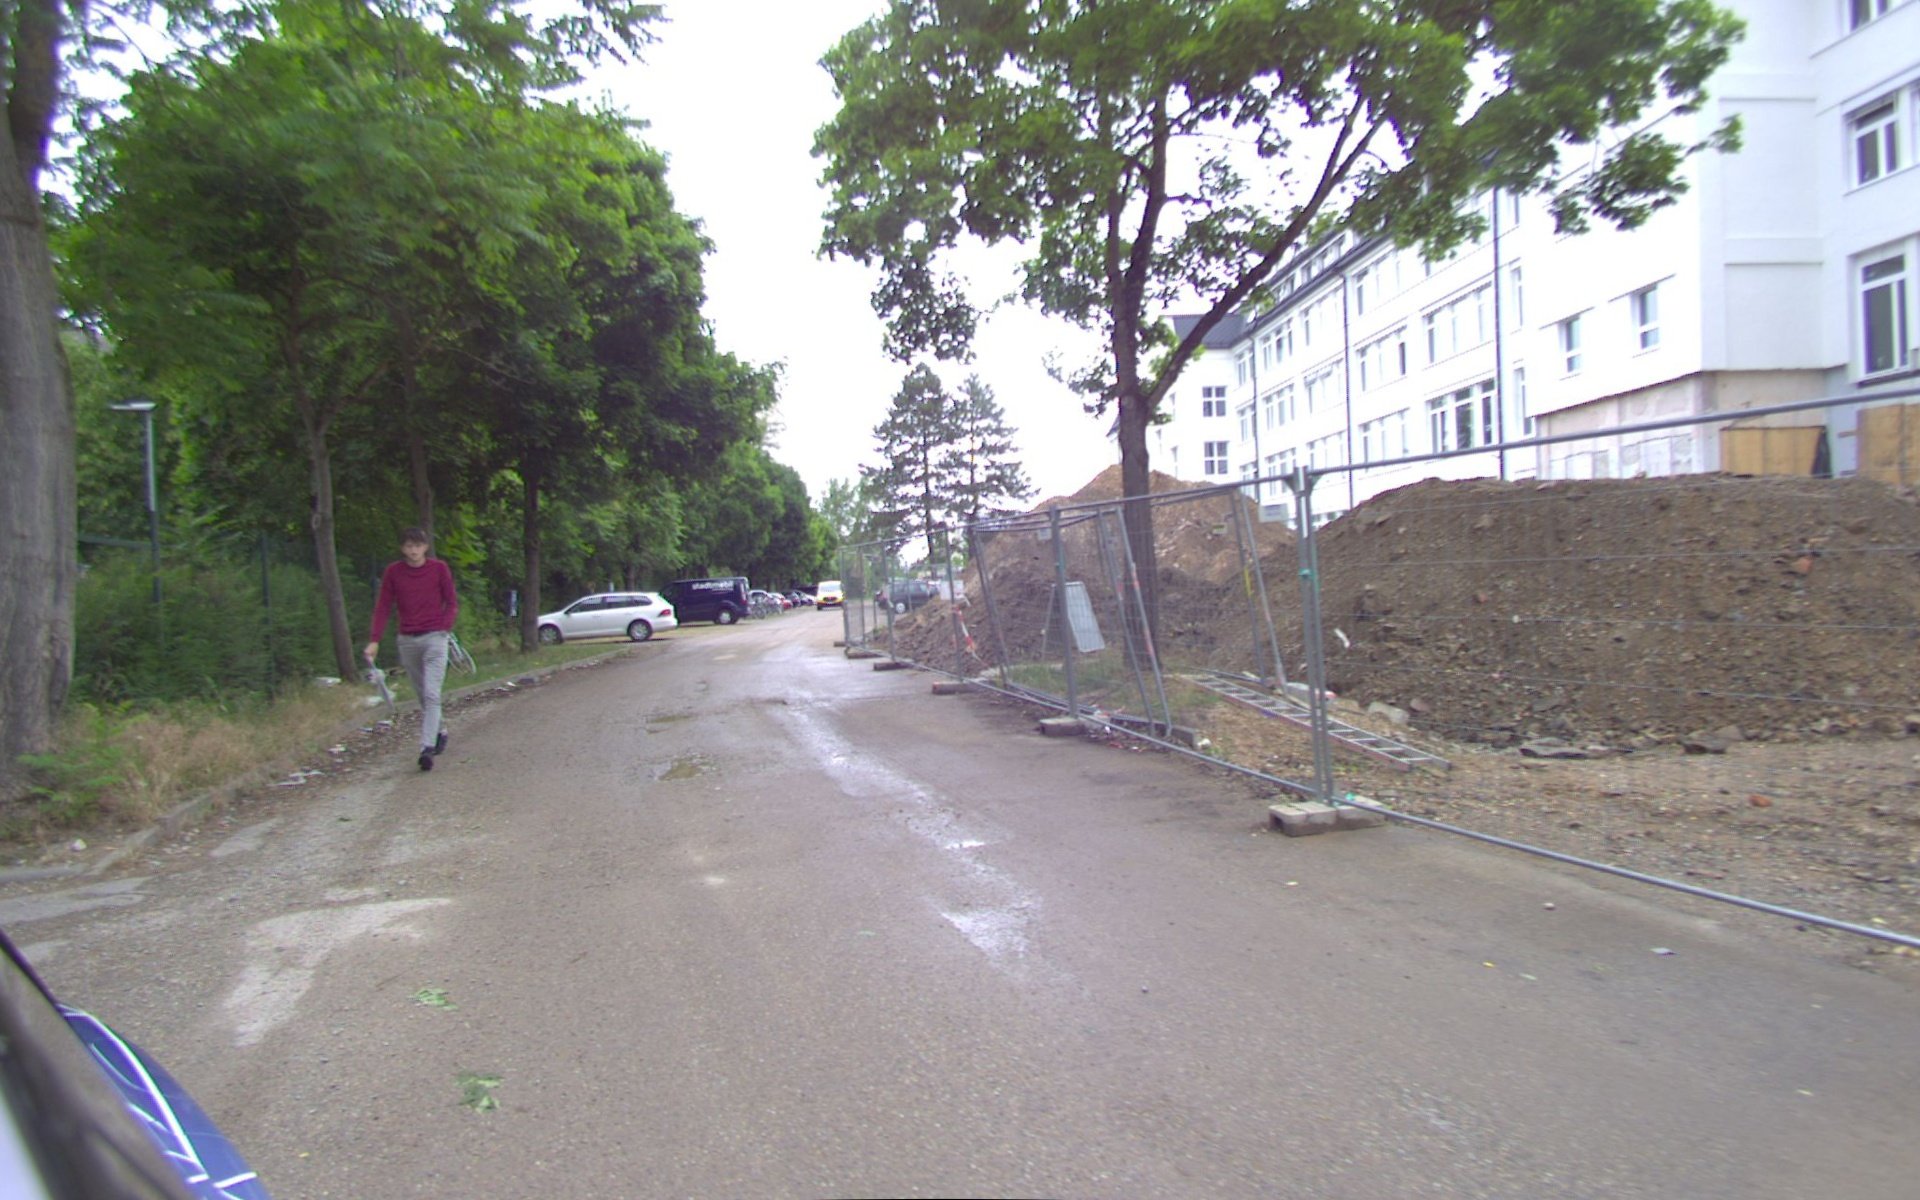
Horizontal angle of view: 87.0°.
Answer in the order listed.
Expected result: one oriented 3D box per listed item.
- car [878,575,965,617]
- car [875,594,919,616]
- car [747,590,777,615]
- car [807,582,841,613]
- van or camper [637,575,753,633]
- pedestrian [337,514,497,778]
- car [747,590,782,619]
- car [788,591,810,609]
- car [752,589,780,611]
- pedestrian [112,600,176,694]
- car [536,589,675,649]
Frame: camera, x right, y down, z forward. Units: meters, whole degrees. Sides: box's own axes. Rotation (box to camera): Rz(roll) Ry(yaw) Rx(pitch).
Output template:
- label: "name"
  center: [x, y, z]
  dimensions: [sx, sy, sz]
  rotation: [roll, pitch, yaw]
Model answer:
- label: "car"
  center: [-1.821, -0.212, 48.766]
  dimensions: [3.948, 1.851, 1.998]
  rotation: [-2, 1, 4]
- label: "car"
  center: [-5.892, 0.447, 94.003]
  dimensions: [3.938, 1.851, 2.003]
  rotation: [-2, 1, -6]
- label: "car"
  center: [-13.724, 0.170, 70.090]
  dimensions: [1.967, 1.608, 4.010]
  rotation: [-2, 1, -12]
- label: "car"
  center: [-9.660, -0.172, 71.647]
  dimensions: [2.091, 2.029, 4.009]
  rotation: [-2, 0, -11]
- label: "van or camper"
  center: [-11.241, 0.144, 43.217]
  dimensions: [4.434, 2.275, 2.002]
  rotation: [-2, 1, -3]
- label: "pedestrian"
  center: [-4.600, 0.359, 8.664]
  dimensions: [0.782, 2.080, 1.203]
  rotation: [-2, 0, -8]
- label: "car"
  center: [-11.559, 0.256, 59.637]
  dimensions: [1.791, 1.608, 4.010]
  rotation: [-2, 1, -13]
- label: "car"
  center: [-15.411, 0.009, 96.986]
  dimensions: [1.968, 1.608, 4.008]
  rotation: [-2, 1, -9]
- label: "car"
  center: [-14.906, -0.001, 78.066]
  dimensions: [1.968, 1.608, 4.008]
  rotation: [-2, 1, -9]
- label: "pedestrian"
  center: [-15.667, 0.887, 19.450]
  dimensions: [0.672, 1.762, 0.621]
  rotation: [-2, 0, 0]
- label: "car"
  center: [-10.596, 0.535, 30.508]
  dimensions: [3.821, 1.586, 1.757]
  rotation: [-2, 1, -16]
